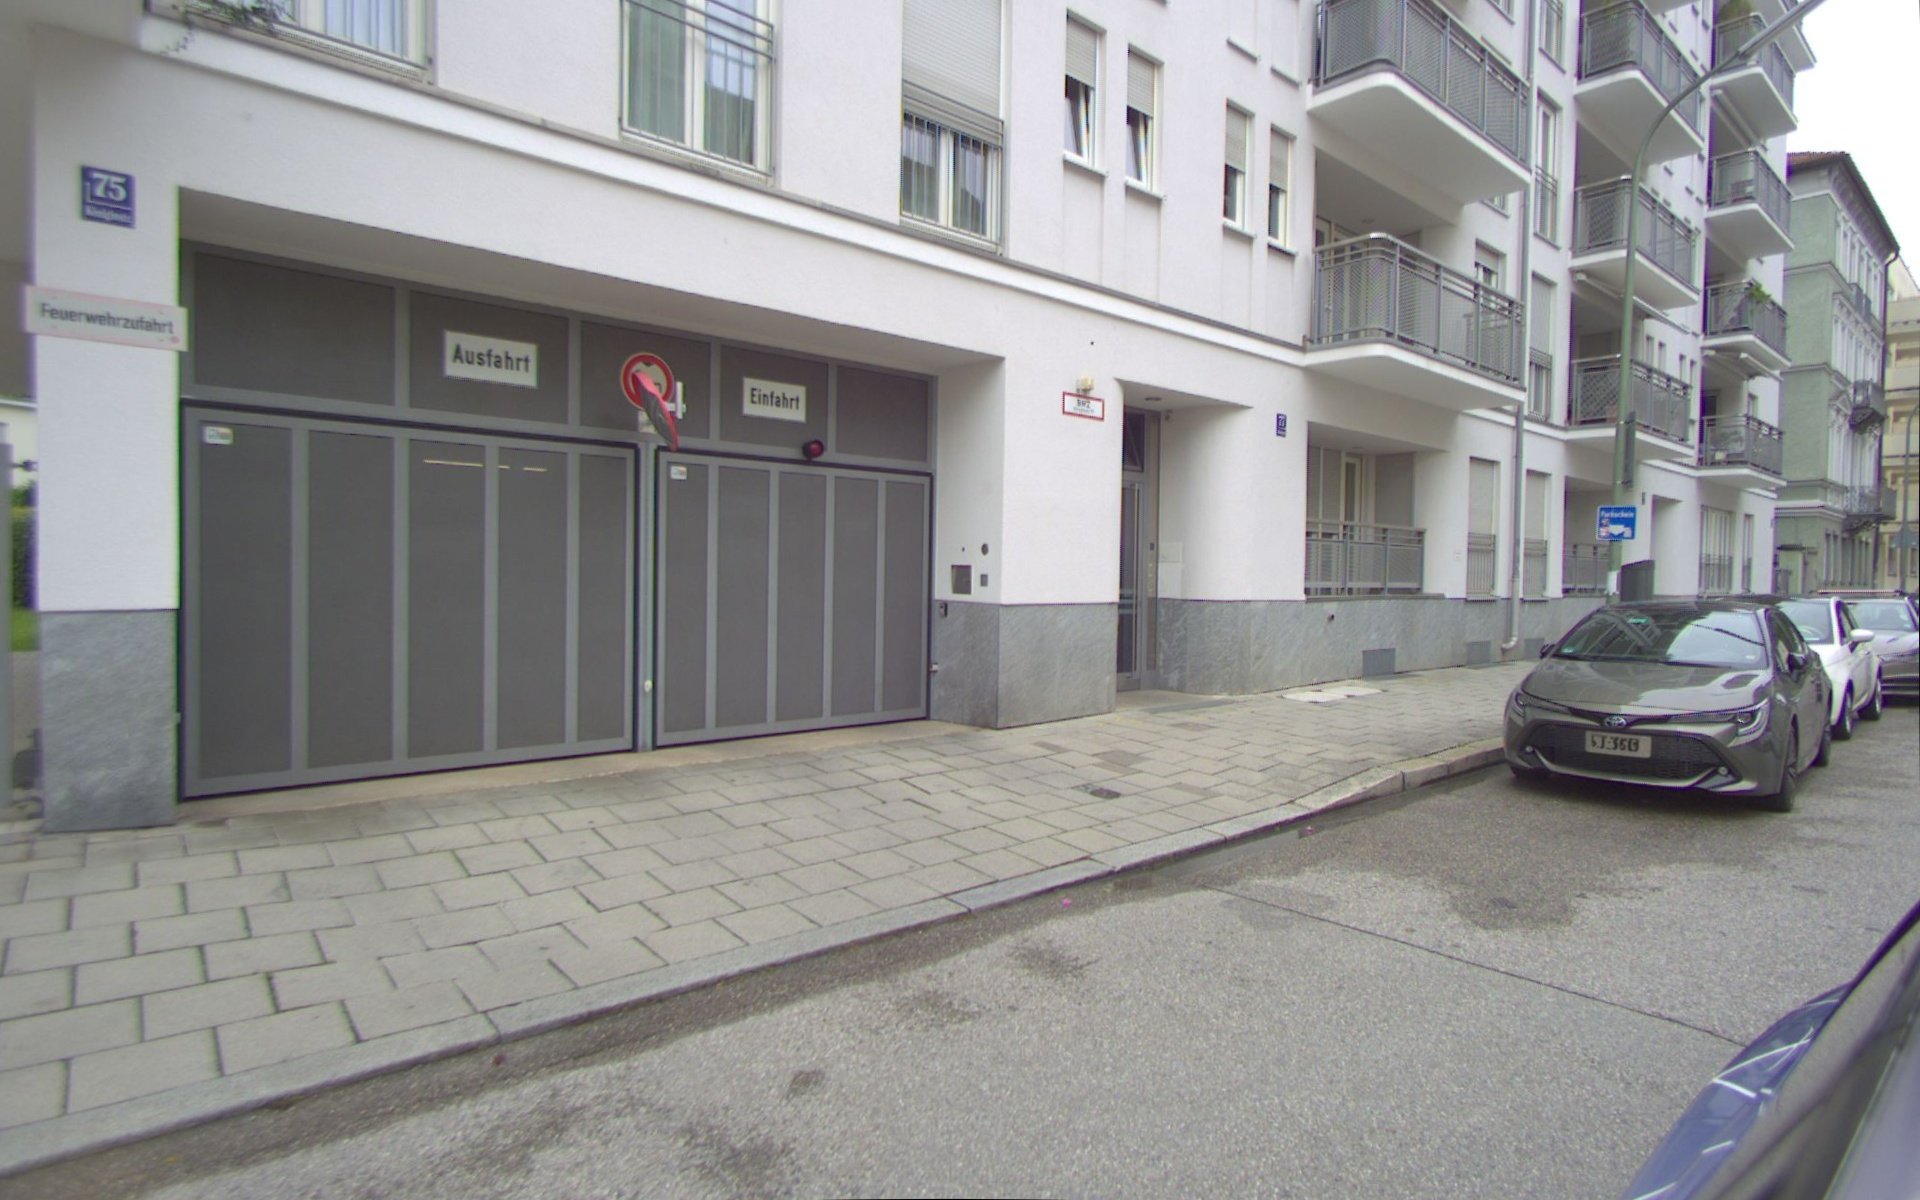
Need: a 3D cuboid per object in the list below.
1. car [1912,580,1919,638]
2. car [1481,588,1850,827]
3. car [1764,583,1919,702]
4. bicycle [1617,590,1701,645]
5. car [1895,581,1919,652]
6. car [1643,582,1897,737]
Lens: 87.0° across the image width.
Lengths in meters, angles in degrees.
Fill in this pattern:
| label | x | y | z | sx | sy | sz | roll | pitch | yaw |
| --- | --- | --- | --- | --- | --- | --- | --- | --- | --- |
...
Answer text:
| label | x | y | z | sx | sy | sz | roll | pitch | yaw |
| --- | --- | --- | --- | --- | --- | --- | --- | --- | --- |
| car | 26.423 | 0.235 | 26.448 | 3.680 | 1.475 | 1.766 | -1 | 1 | -39 |
| car | 5.914 | 0.632 | 8.266 | 1.780 | 1.411 | 4.178 | 2 | 2 | 45 |
| car | 12.893 | 0.504 | 14.368 | 3.684 | 1.475 | 1.764 | -1 | 2 | -43 |
| bicycle | 13.812 | 0.326 | 19.992 | 1.914 | 1.027 | 0.582 | -1 | 0 | -29 |
| car | 21.742 | 0.338 | 22.014 | 3.684 | 1.475 | 1.764 | -1 | 2 | -43 |
| car | 9.285 | 0.547 | 11.528 | 3.360 | 1.475 | 1.764 | -1 | 2 | -43 |
